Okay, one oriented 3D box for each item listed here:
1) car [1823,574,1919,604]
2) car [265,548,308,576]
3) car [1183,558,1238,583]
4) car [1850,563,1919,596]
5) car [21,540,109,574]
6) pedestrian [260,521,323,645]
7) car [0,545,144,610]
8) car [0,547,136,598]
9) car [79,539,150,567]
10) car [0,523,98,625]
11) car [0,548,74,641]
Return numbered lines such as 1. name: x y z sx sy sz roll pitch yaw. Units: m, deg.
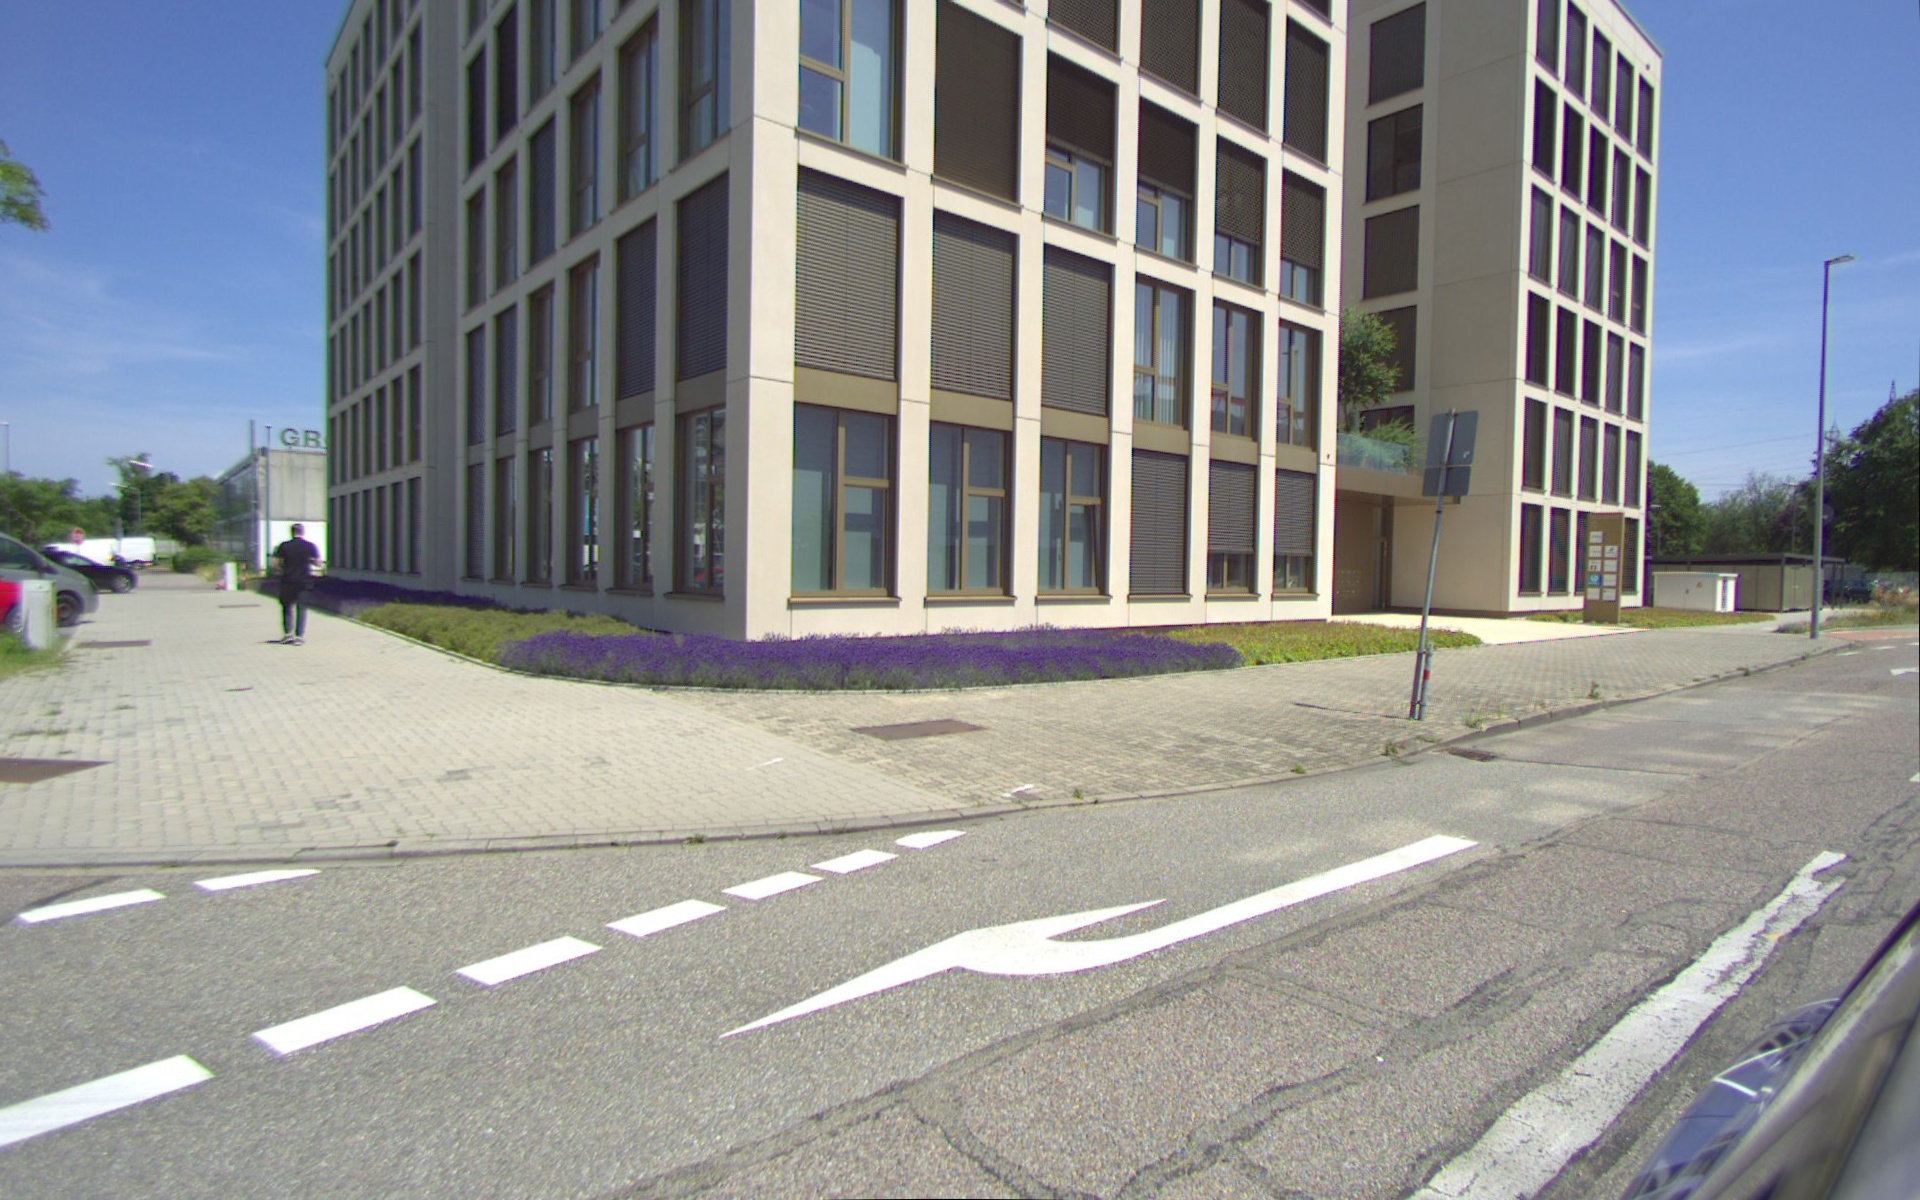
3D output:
1. car: 55.029 -0.692 61.174 3.960 1.682 1.822 2 2 26
2. car: -38.487 -2.161 57.799 1.758 1.540 3.574 -1 3 -39
3. car: 19.849 -2.331 80.250 3.921 1.874 2.002 0 2 -31
4. car: 58.590 -1.271 63.220 3.958 1.977 1.984 2 2 25
5. car: -55.509 -2.644 62.859 3.925 2.038 2.000 0 2 -36
6. pedestrian: -10.397 -0.284 15.774 0.758 1.867 0.869 -1 3 -32
7. car: -22.486 -0.577 24.657 1.691 1.482 3.991 1 2 9
8. car: -29.707 -0.930 32.959 1.792 1.557 4.131 0 3 19
9. car: -67.971 -3.771 81.489 4.281 2.146 2.094 0 2 -37
10. car: -18.348 -0.464 17.899 1.676 1.838 4.899 1 2 7
11. car: -15.906 -0.062 15.085 1.584 1.452 3.991 1 2 9
